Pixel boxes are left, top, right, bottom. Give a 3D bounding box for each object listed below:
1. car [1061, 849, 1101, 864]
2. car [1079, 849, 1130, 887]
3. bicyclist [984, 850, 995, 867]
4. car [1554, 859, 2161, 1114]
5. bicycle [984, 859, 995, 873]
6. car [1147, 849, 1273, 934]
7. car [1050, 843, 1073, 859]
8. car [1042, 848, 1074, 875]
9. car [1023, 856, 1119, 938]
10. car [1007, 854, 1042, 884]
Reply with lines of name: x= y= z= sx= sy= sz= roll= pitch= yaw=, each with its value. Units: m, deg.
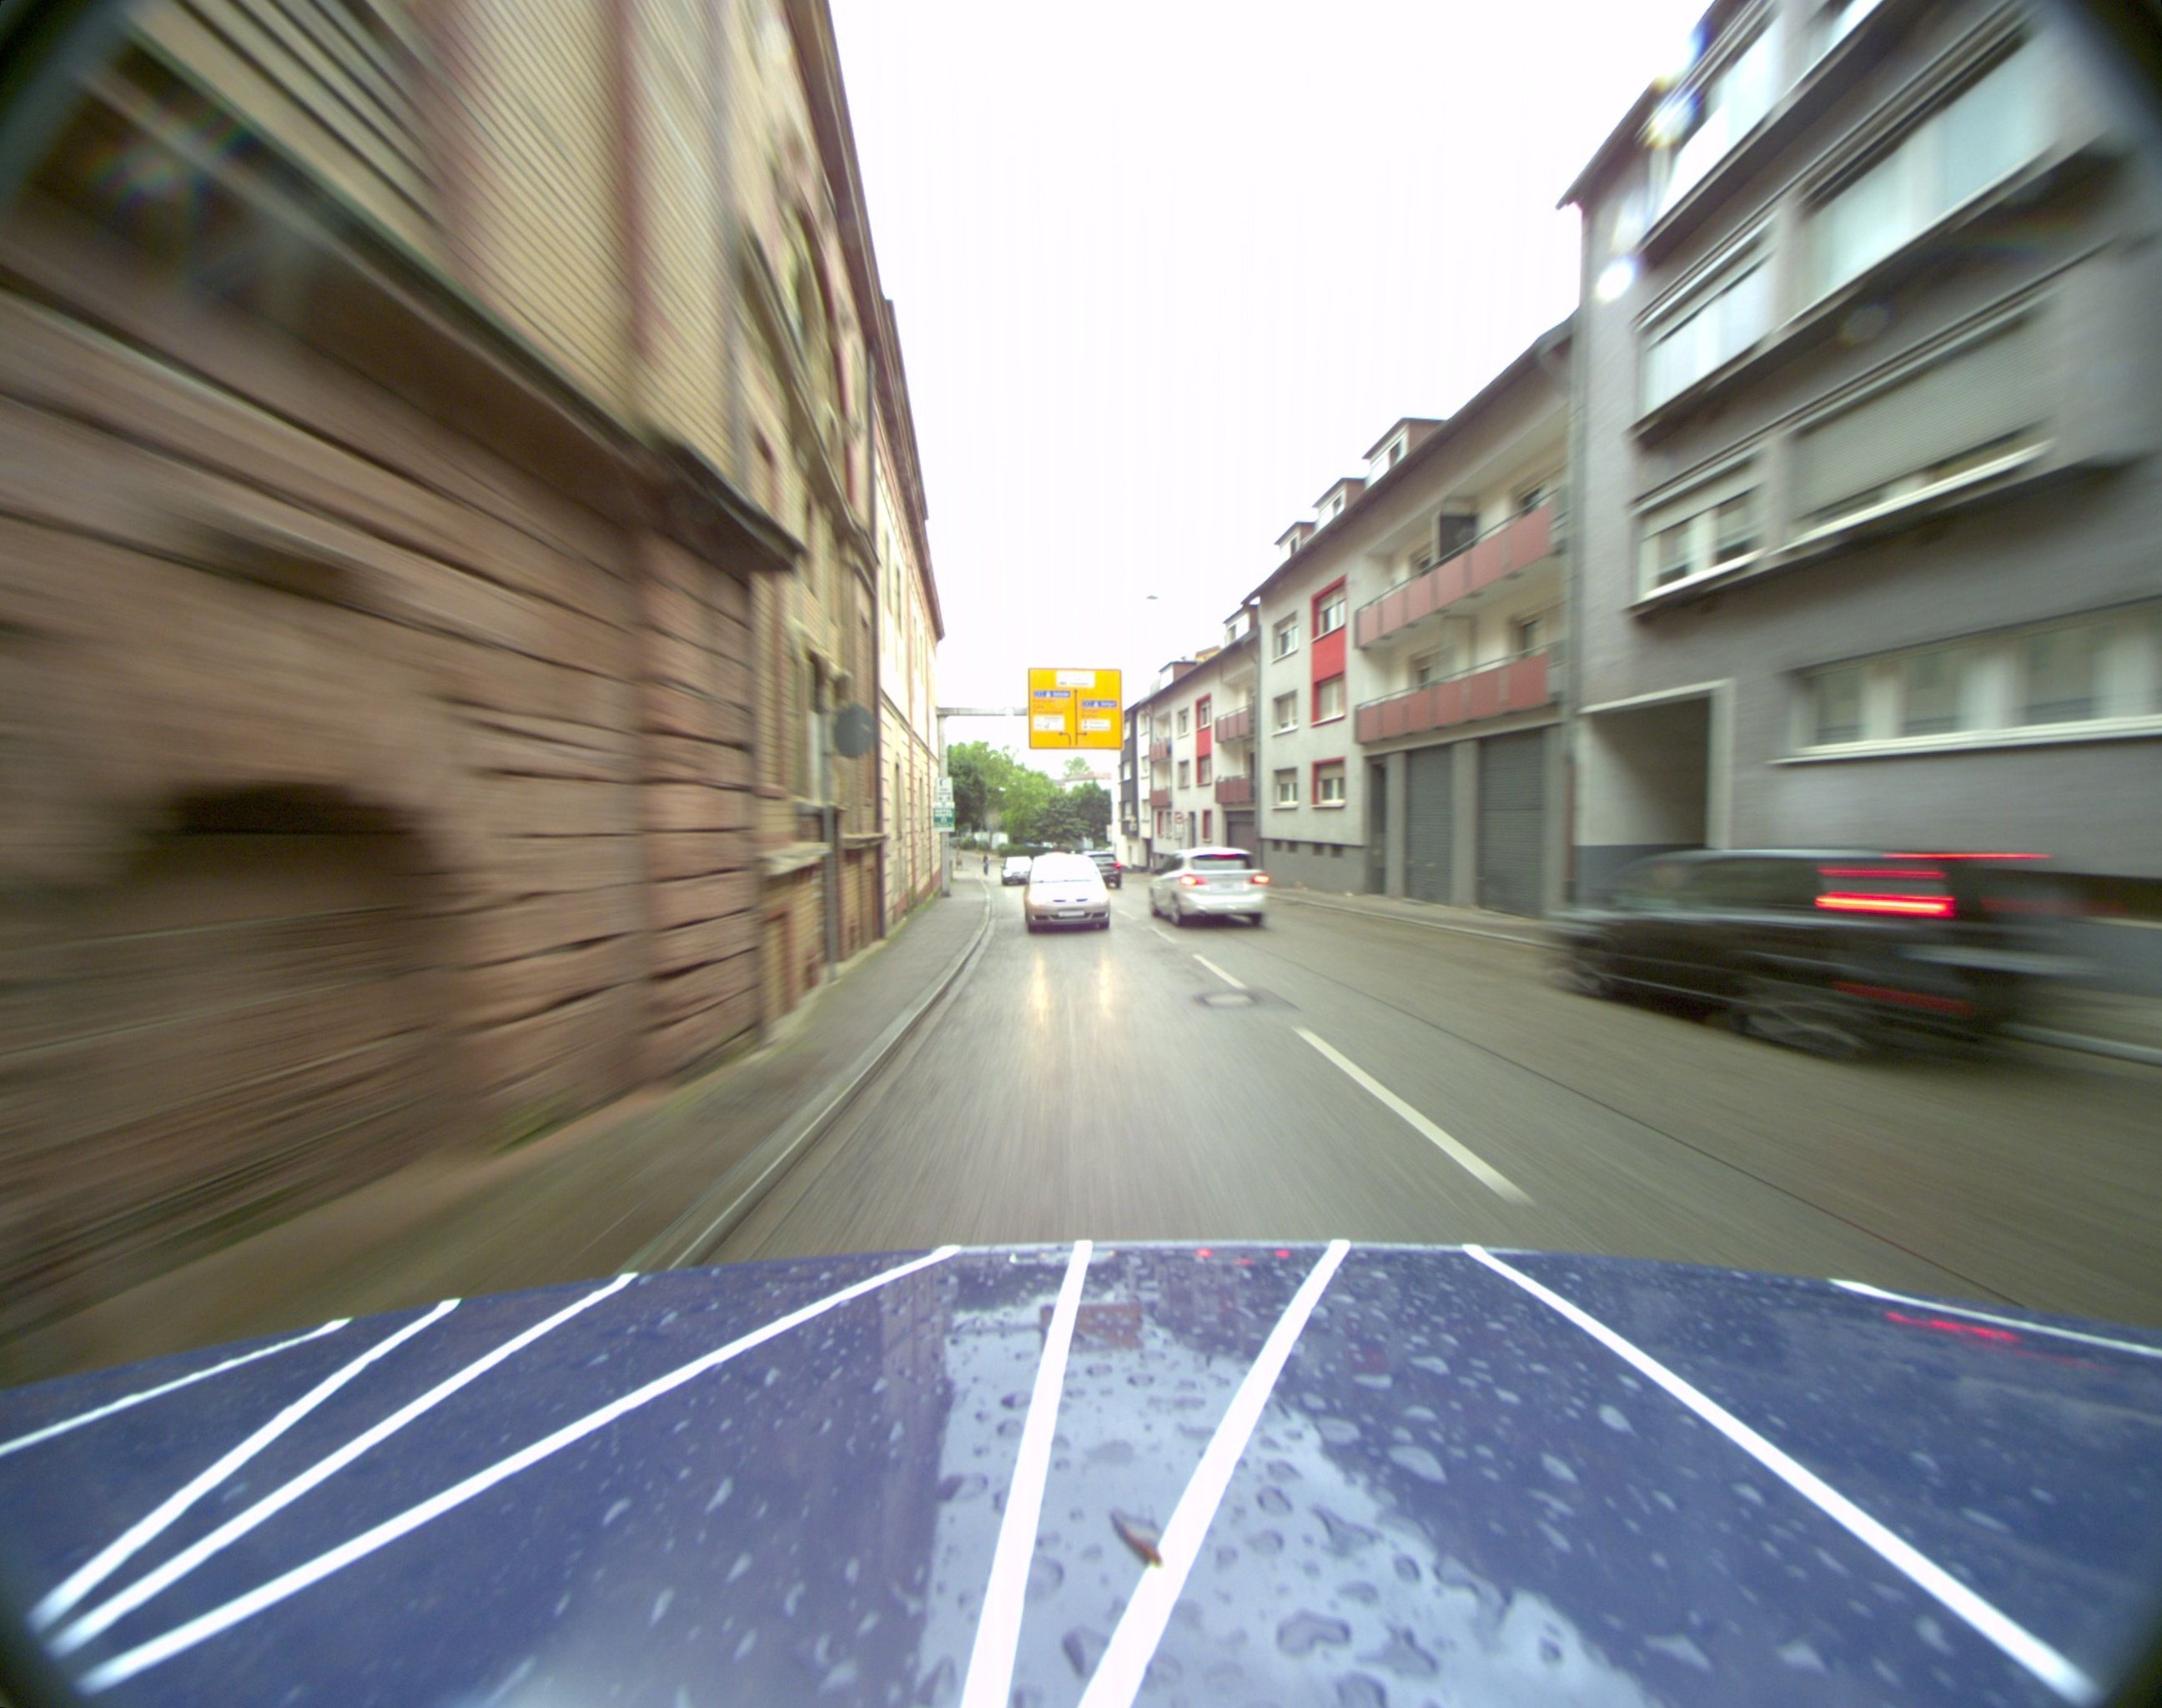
car: x=-0.028 y=0.267 z=84.678 sx=4.005 sy=1.501 sz=1.796 roll=-2 pitch=0 yaw=-24
car: x=0.968 y=0.562 z=33.413 sx=1.769 sy=1.567 sz=3.762 roll=-1 pitch=1 yaw=-6
bicyclist: x=-7.932 y=0.373 z=65.684 sx=0.888 sy=1.481 sz=0.967 roll=-2 pitch=2 yaw=-7
car: x=5.822 y=0.820 z=6.299 sx=1.649 sy=1.488 sz=3.376 roll=1 pitch=0 yaw=0
bicycle: x=-7.911 y=1.030 z=65.783 sx=0.888 sy=1.181 sz=2.131 roll=-2 pitch=1 yaw=-7
car: x=2.626 y=0.699 z=16.371 sx=1.769 sy=1.567 sz=4.034 roll=-1 pitch=1 yaw=-4
car: x=-2.603 y=-0.408 z=99.220 sx=1.639 sy=1.949 sz=4.203 roll=2 pitch=2 yaw=-20
car: x=-1.521 y=0.446 z=48.689 sx=1.770 sy=1.648 sz=3.984 roll=-1 pitch=1 yaw=-6
car: x=-0.332 y=0.833 z=16.610 sx=1.687 sy=1.496 sz=3.837 roll=-3 pitch=0 yaw=-6
car: x=-3.043 y=0.797 z=40.234 sx=1.687 sy=1.418 sz=3.837 roll=-3 pitch=0 yaw=-6
